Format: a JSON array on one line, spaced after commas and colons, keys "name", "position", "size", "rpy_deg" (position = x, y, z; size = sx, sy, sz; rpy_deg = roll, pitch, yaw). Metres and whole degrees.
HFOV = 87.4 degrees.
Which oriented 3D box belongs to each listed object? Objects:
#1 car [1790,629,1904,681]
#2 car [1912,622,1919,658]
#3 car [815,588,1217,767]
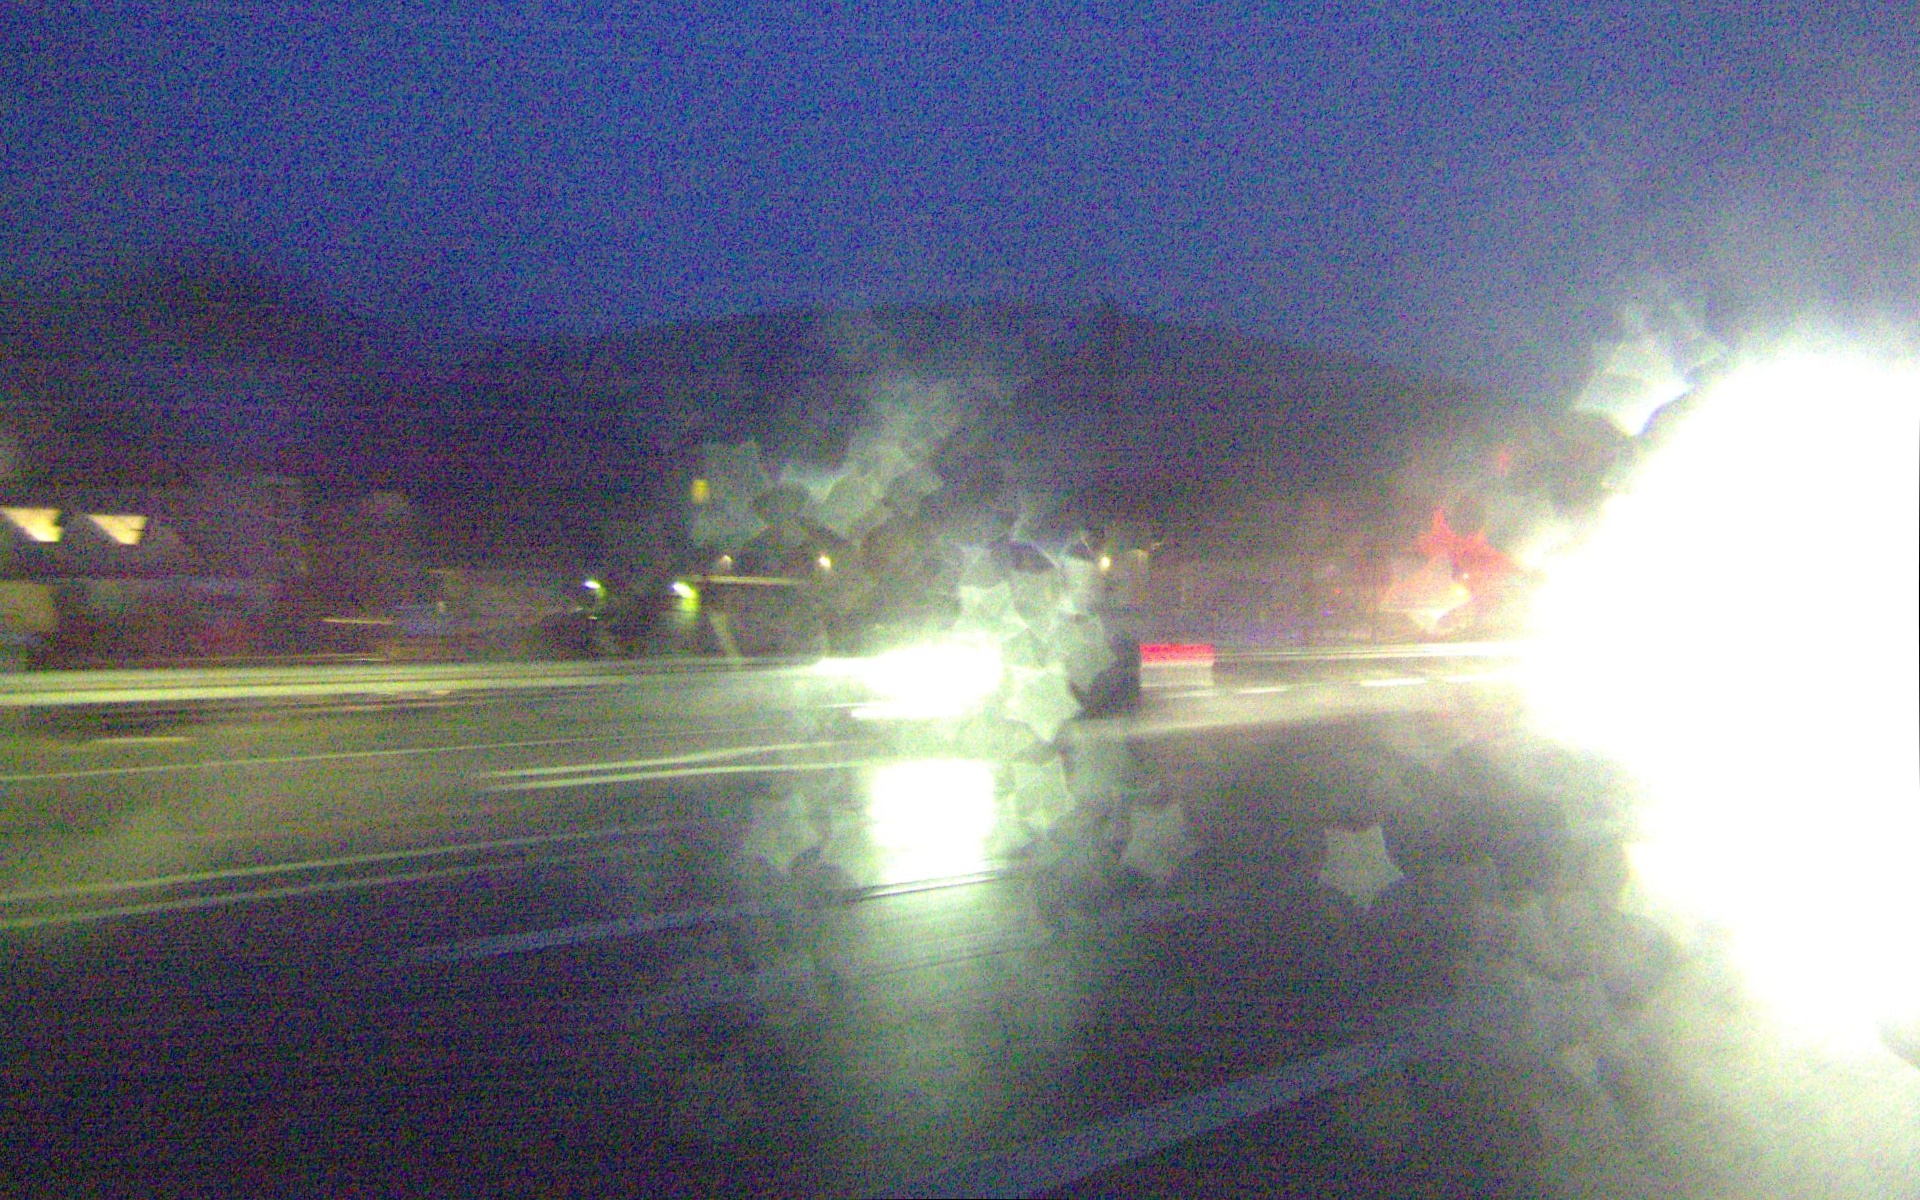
[{"name": "car", "position": [27.846, 1.674, 31.500], "size": [4.449, 1.461, 1.819], "rpy_deg": [1, 0, -37]}, {"name": "car", "position": [40.249, 1.577, 40.690], "size": [3.819, 1.460, 1.778], "rpy_deg": [0, -2, -36]}, {"name": "car", "position": [0.758, 0.806, 12.175], "size": [4.480, 1.768, 2.183], "rpy_deg": [1, 0, -35]}]
